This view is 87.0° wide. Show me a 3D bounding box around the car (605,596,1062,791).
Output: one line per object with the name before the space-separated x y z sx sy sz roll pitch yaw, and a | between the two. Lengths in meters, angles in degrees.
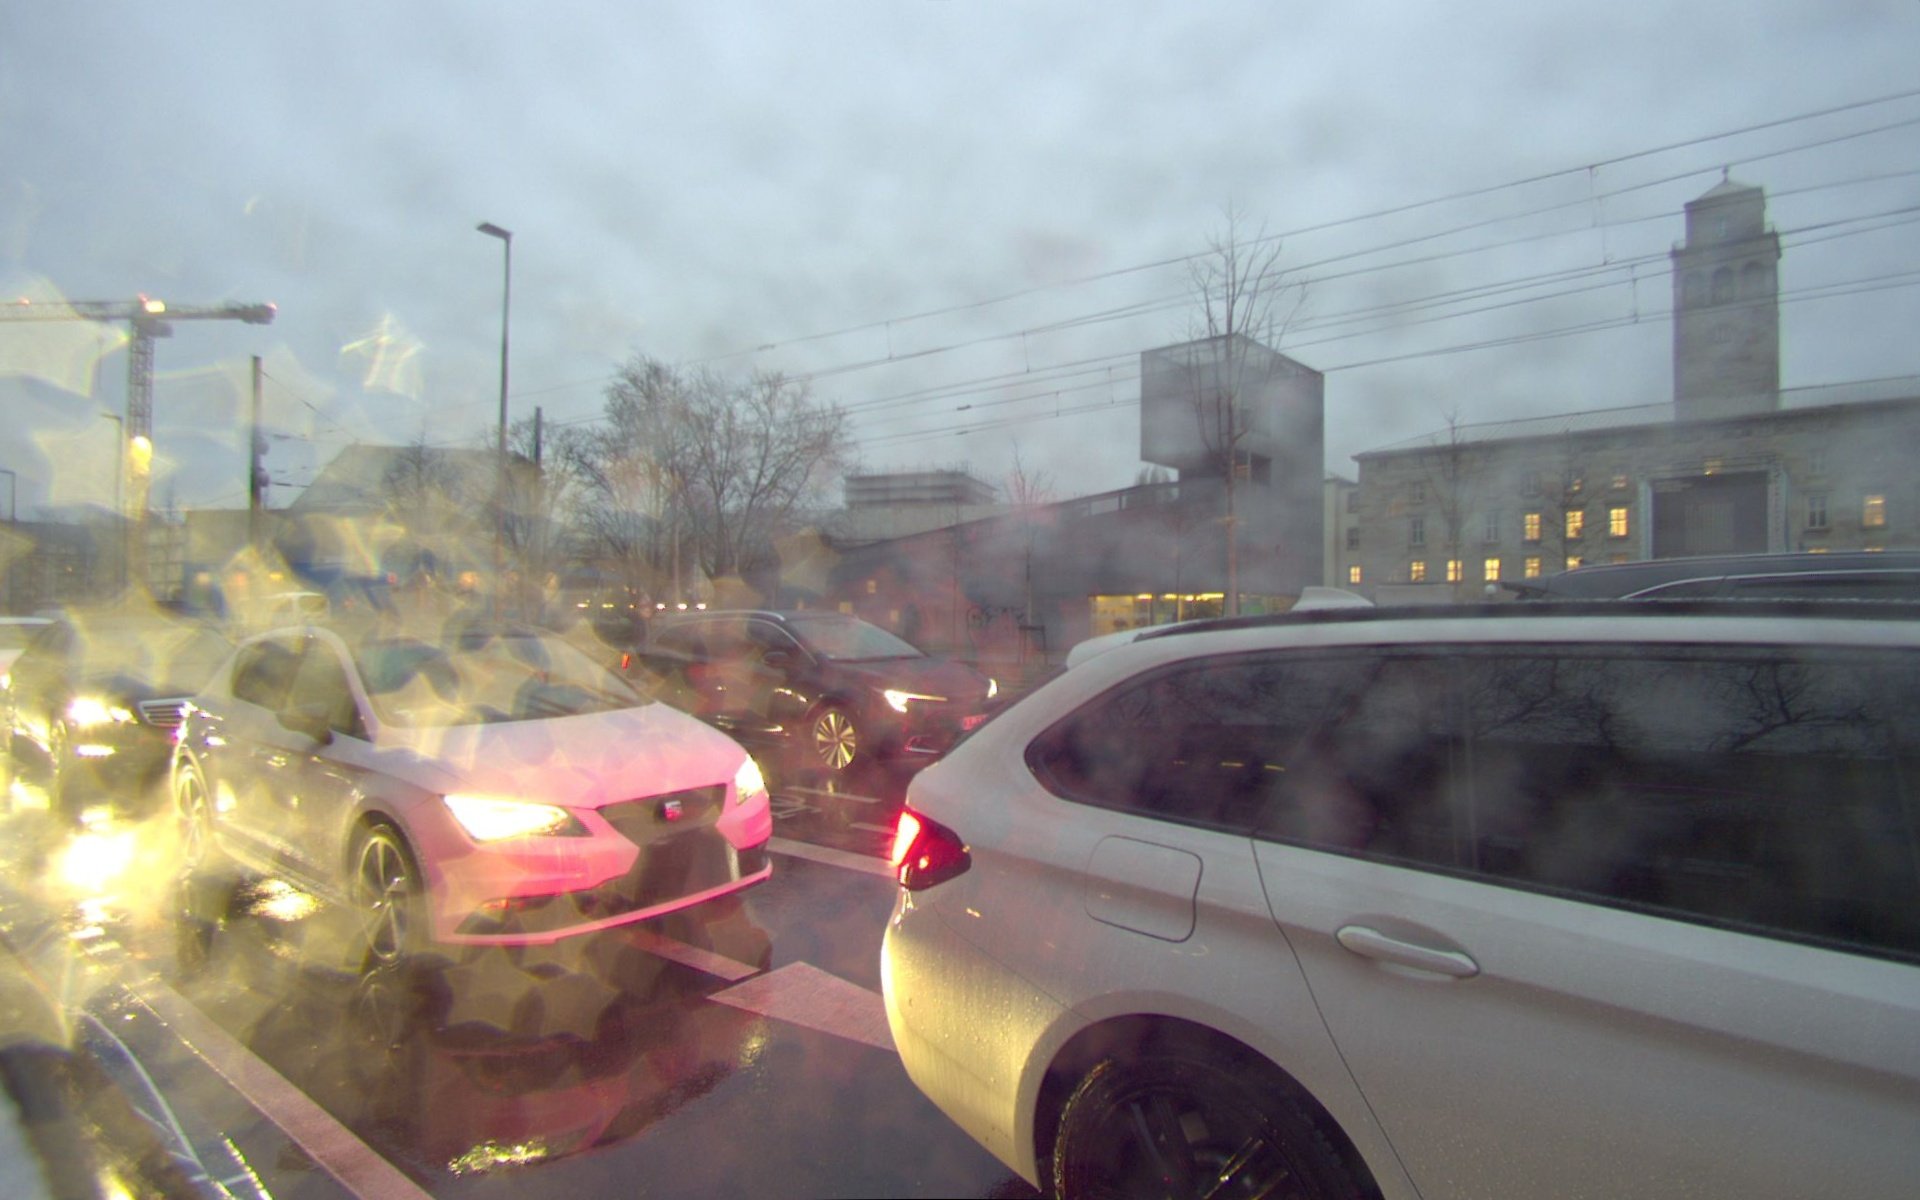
car | -1.433 0.754 10.079 4.659 1.519 1.830 0 -1 39

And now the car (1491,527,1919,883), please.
car | 5.232 0.477 5.002 4.289 1.596 1.946 -1 -1 42

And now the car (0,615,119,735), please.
car | -14.243 1.041 15.198 3.998 1.586 1.882 -1 0 41

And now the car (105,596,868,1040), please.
car | -2.828 0.773 5.584 4.497 1.498 1.926 -1 0 37

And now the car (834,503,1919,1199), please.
car | 2.077 0.651 1.635 4.557 1.498 1.996 -1 -2 41

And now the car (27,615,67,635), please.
car | -91.160 2.479 101.043 3.989 1.910 2.072 -1 -2 34

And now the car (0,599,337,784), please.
car | -8.366 0.790 10.416 4.501 1.498 1.974 -1 -2 39
